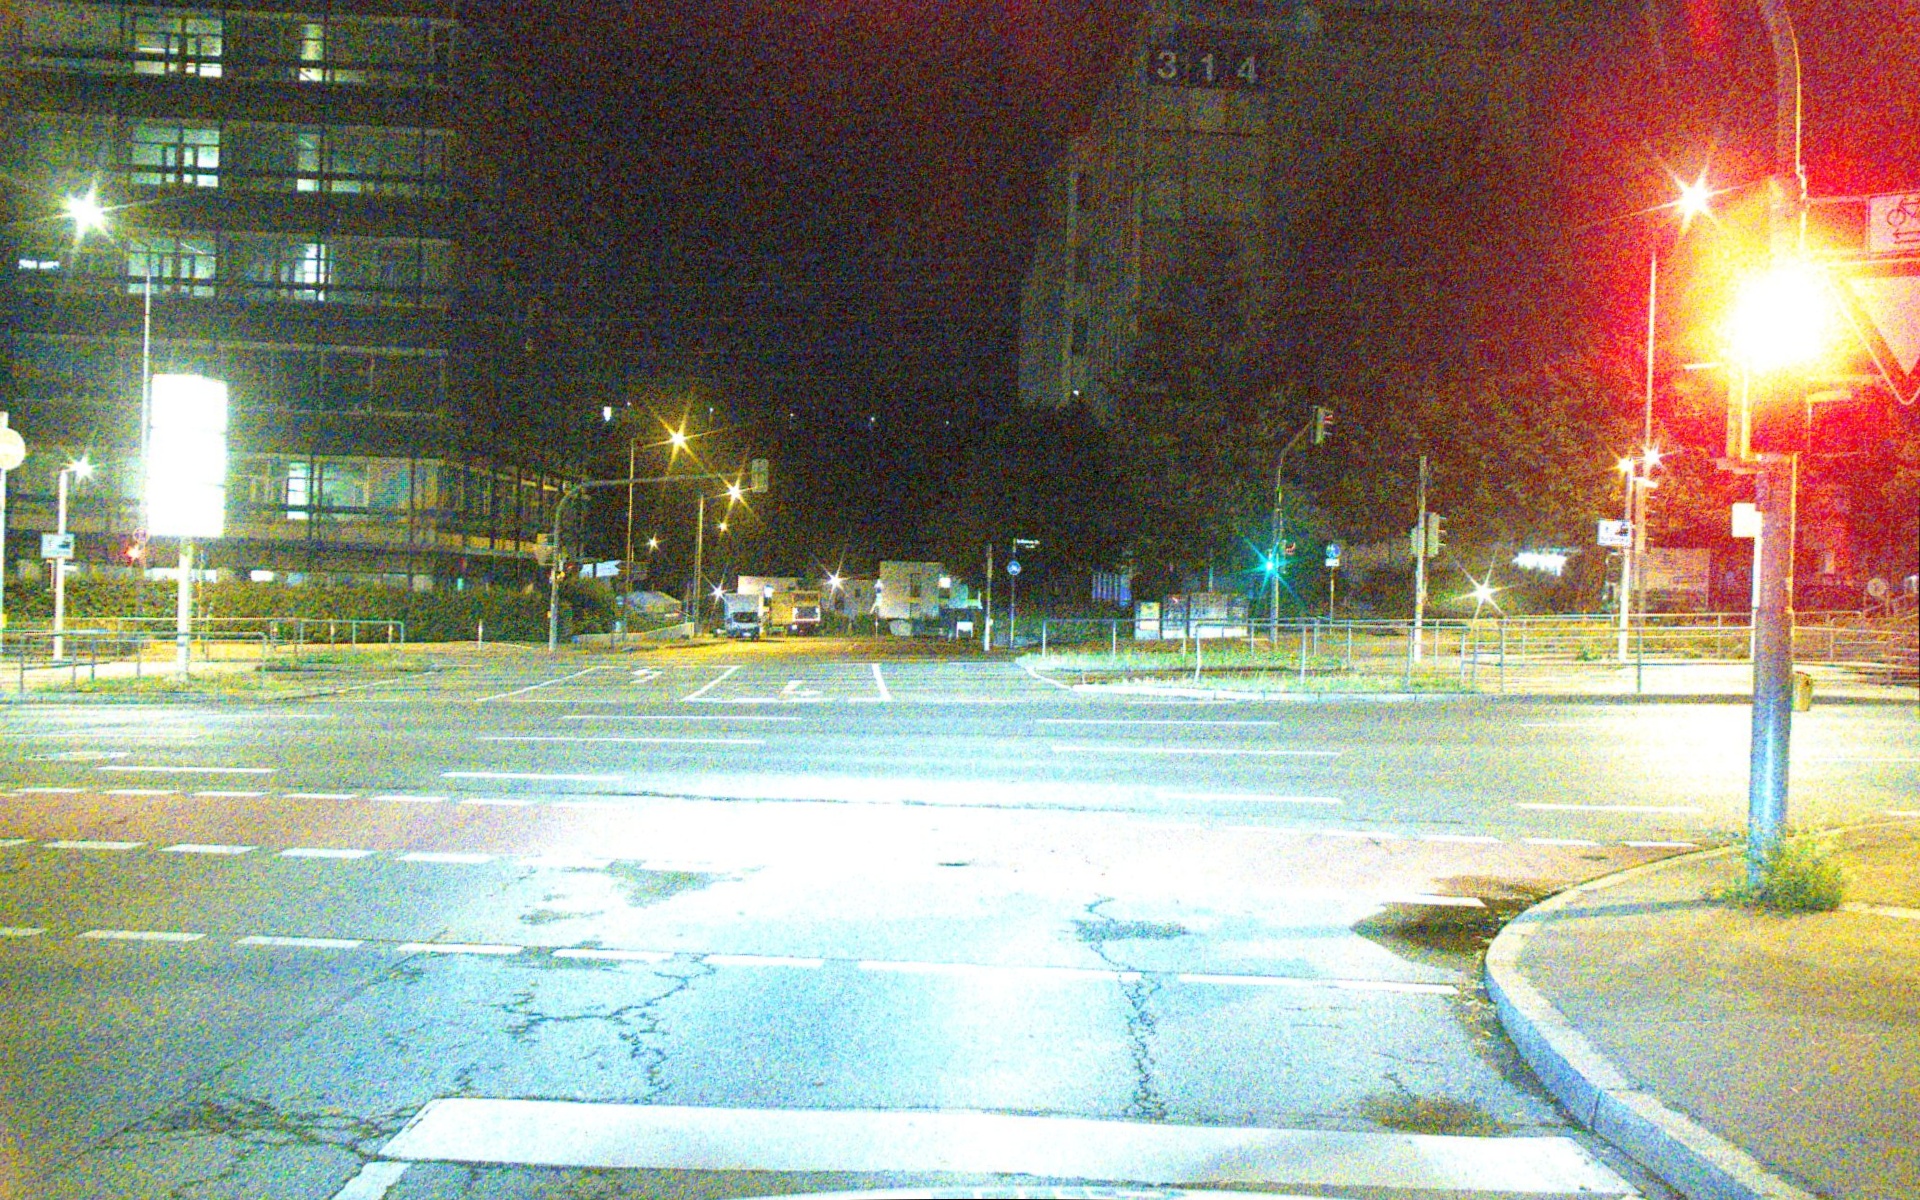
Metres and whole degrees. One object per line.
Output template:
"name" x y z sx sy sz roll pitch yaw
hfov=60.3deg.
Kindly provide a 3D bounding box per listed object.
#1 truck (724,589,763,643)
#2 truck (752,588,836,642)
"truck" -15.612 1.134 119.036 2.535 3.772 5.724 1 0 -9
"truck" -15.299 1.297 150.990 4.751 4.627 12.593 1 0 -19
